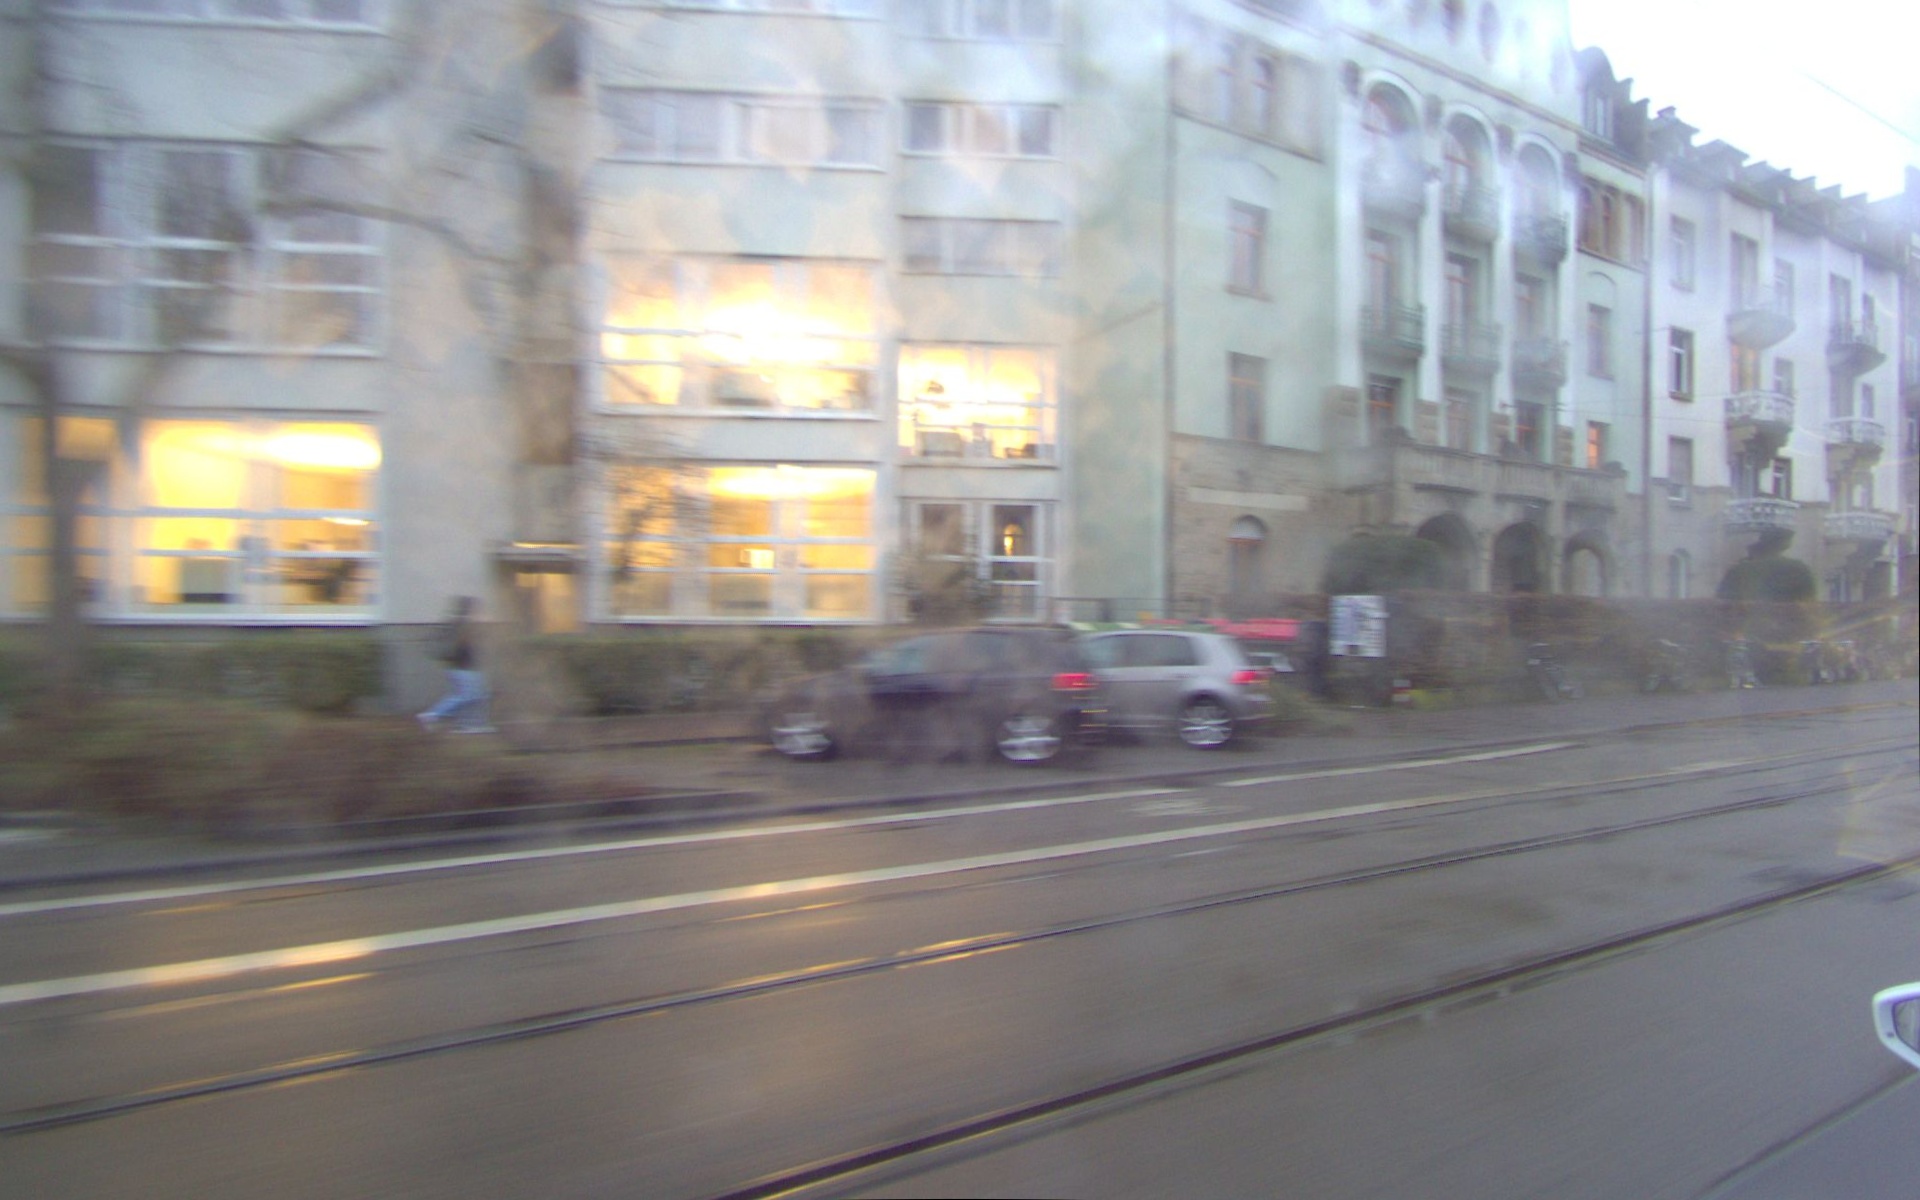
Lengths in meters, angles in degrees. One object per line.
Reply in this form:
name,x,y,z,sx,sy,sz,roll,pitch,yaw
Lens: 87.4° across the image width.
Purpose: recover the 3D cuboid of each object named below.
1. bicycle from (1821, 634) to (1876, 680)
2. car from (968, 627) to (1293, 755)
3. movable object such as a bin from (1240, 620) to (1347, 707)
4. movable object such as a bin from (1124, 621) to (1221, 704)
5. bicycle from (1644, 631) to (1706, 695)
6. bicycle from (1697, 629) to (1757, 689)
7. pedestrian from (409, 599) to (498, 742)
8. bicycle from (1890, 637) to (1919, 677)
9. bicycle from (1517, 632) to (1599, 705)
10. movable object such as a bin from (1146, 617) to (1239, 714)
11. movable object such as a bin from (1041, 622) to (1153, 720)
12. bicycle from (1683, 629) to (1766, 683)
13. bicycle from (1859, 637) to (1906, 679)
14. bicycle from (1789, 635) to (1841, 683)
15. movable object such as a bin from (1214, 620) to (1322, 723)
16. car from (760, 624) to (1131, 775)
bicycle,22.134,1.418,25.023,1.581,1.044,0.688,5,-4,-35
car,2.246,1.099,13.052,3.920,1.447,1.849,-1,-1,18
movable object such as a bin,5.939,1.102,17.917,1.306,1.469,1.260,0,-1,-23
movable object such as a bin,3.972,1.135,18.861,1.306,1.469,1.260,0,-1,-23
bicycle,14.472,1.246,20.327,1.583,1.228,0.624,0,-1,-39
bicycle,16.725,1.263,21.897,1.583,1.228,0.686,0,-1,-39
pedestrian,-6.271,0.841,12.439,0.962,1.699,0.594,0,-1,-30
bicycle,25.600,1.511,26.976,1.583,1.044,0.686,2,-2,-39
bicycle,10.792,1.203,18.105,1.580,1.228,0.687,0,-1,-35
movable object such as a bin,3.728,1.019,16.071,1.076,1.469,1.107,-1,-1,39
movable object such as a bin,2.161,1.093,15.990,1.306,1.469,1.260,0,-1,-23
bicycle,19.003,1.376,24.985,0.483,1.279,1.585,5,-4,-25
bicycle,23.965,1.510,26.092,1.583,1.044,0.686,3,-3,-39
bicycle,20.489,1.416,24.057,1.582,1.044,0.686,6,-5,-39
movable object such as a bin,4.684,1.044,15.265,1.247,1.469,1.107,-1,-1,38
car,-0.100,1.039,11.543,3.919,1.490,1.833,0,-1,15
